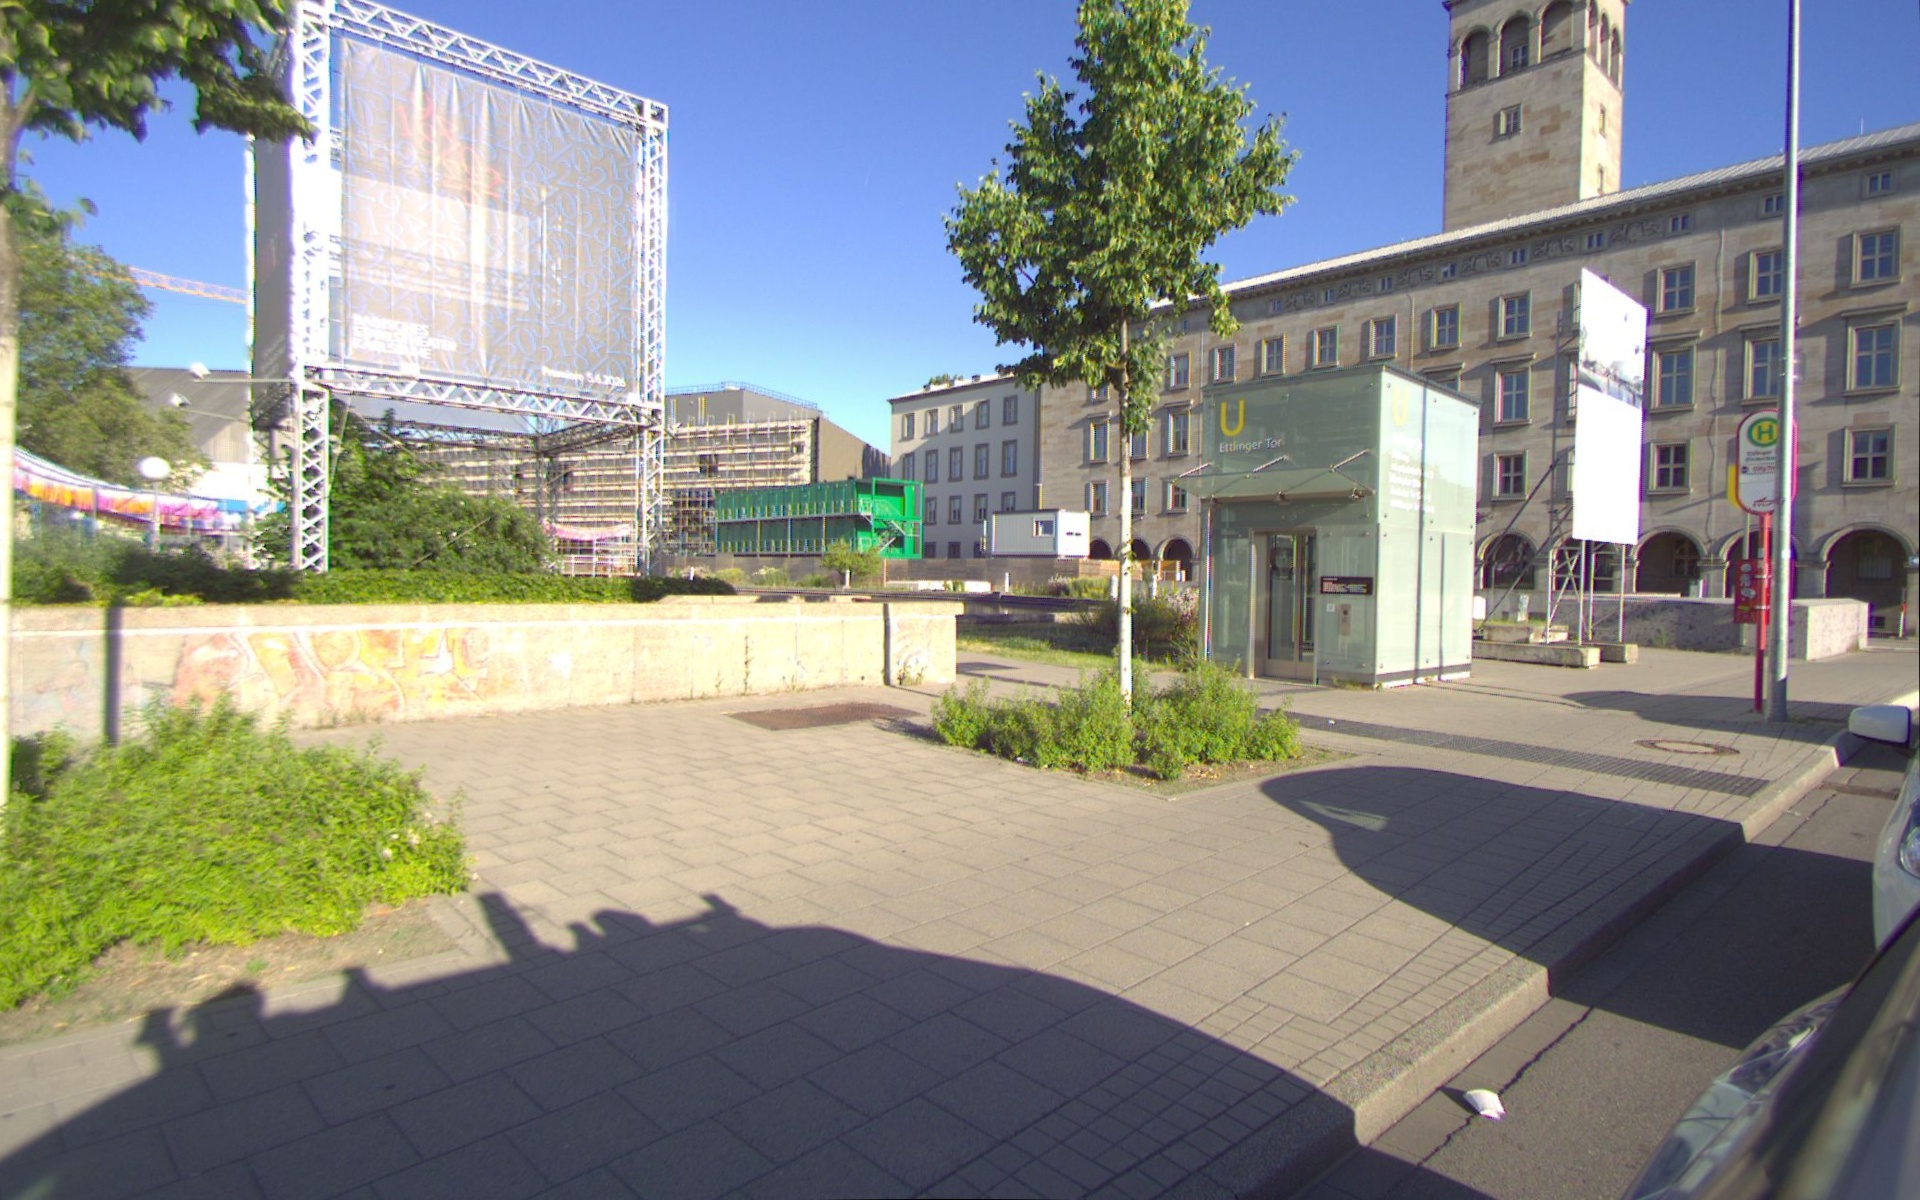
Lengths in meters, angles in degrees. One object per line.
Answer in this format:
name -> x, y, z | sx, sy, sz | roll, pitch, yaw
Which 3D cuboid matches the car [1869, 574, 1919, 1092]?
car -> 4.645, 0.679, 3.663 | 3.930, 1.473, 1.518 | 0, 2, -41
